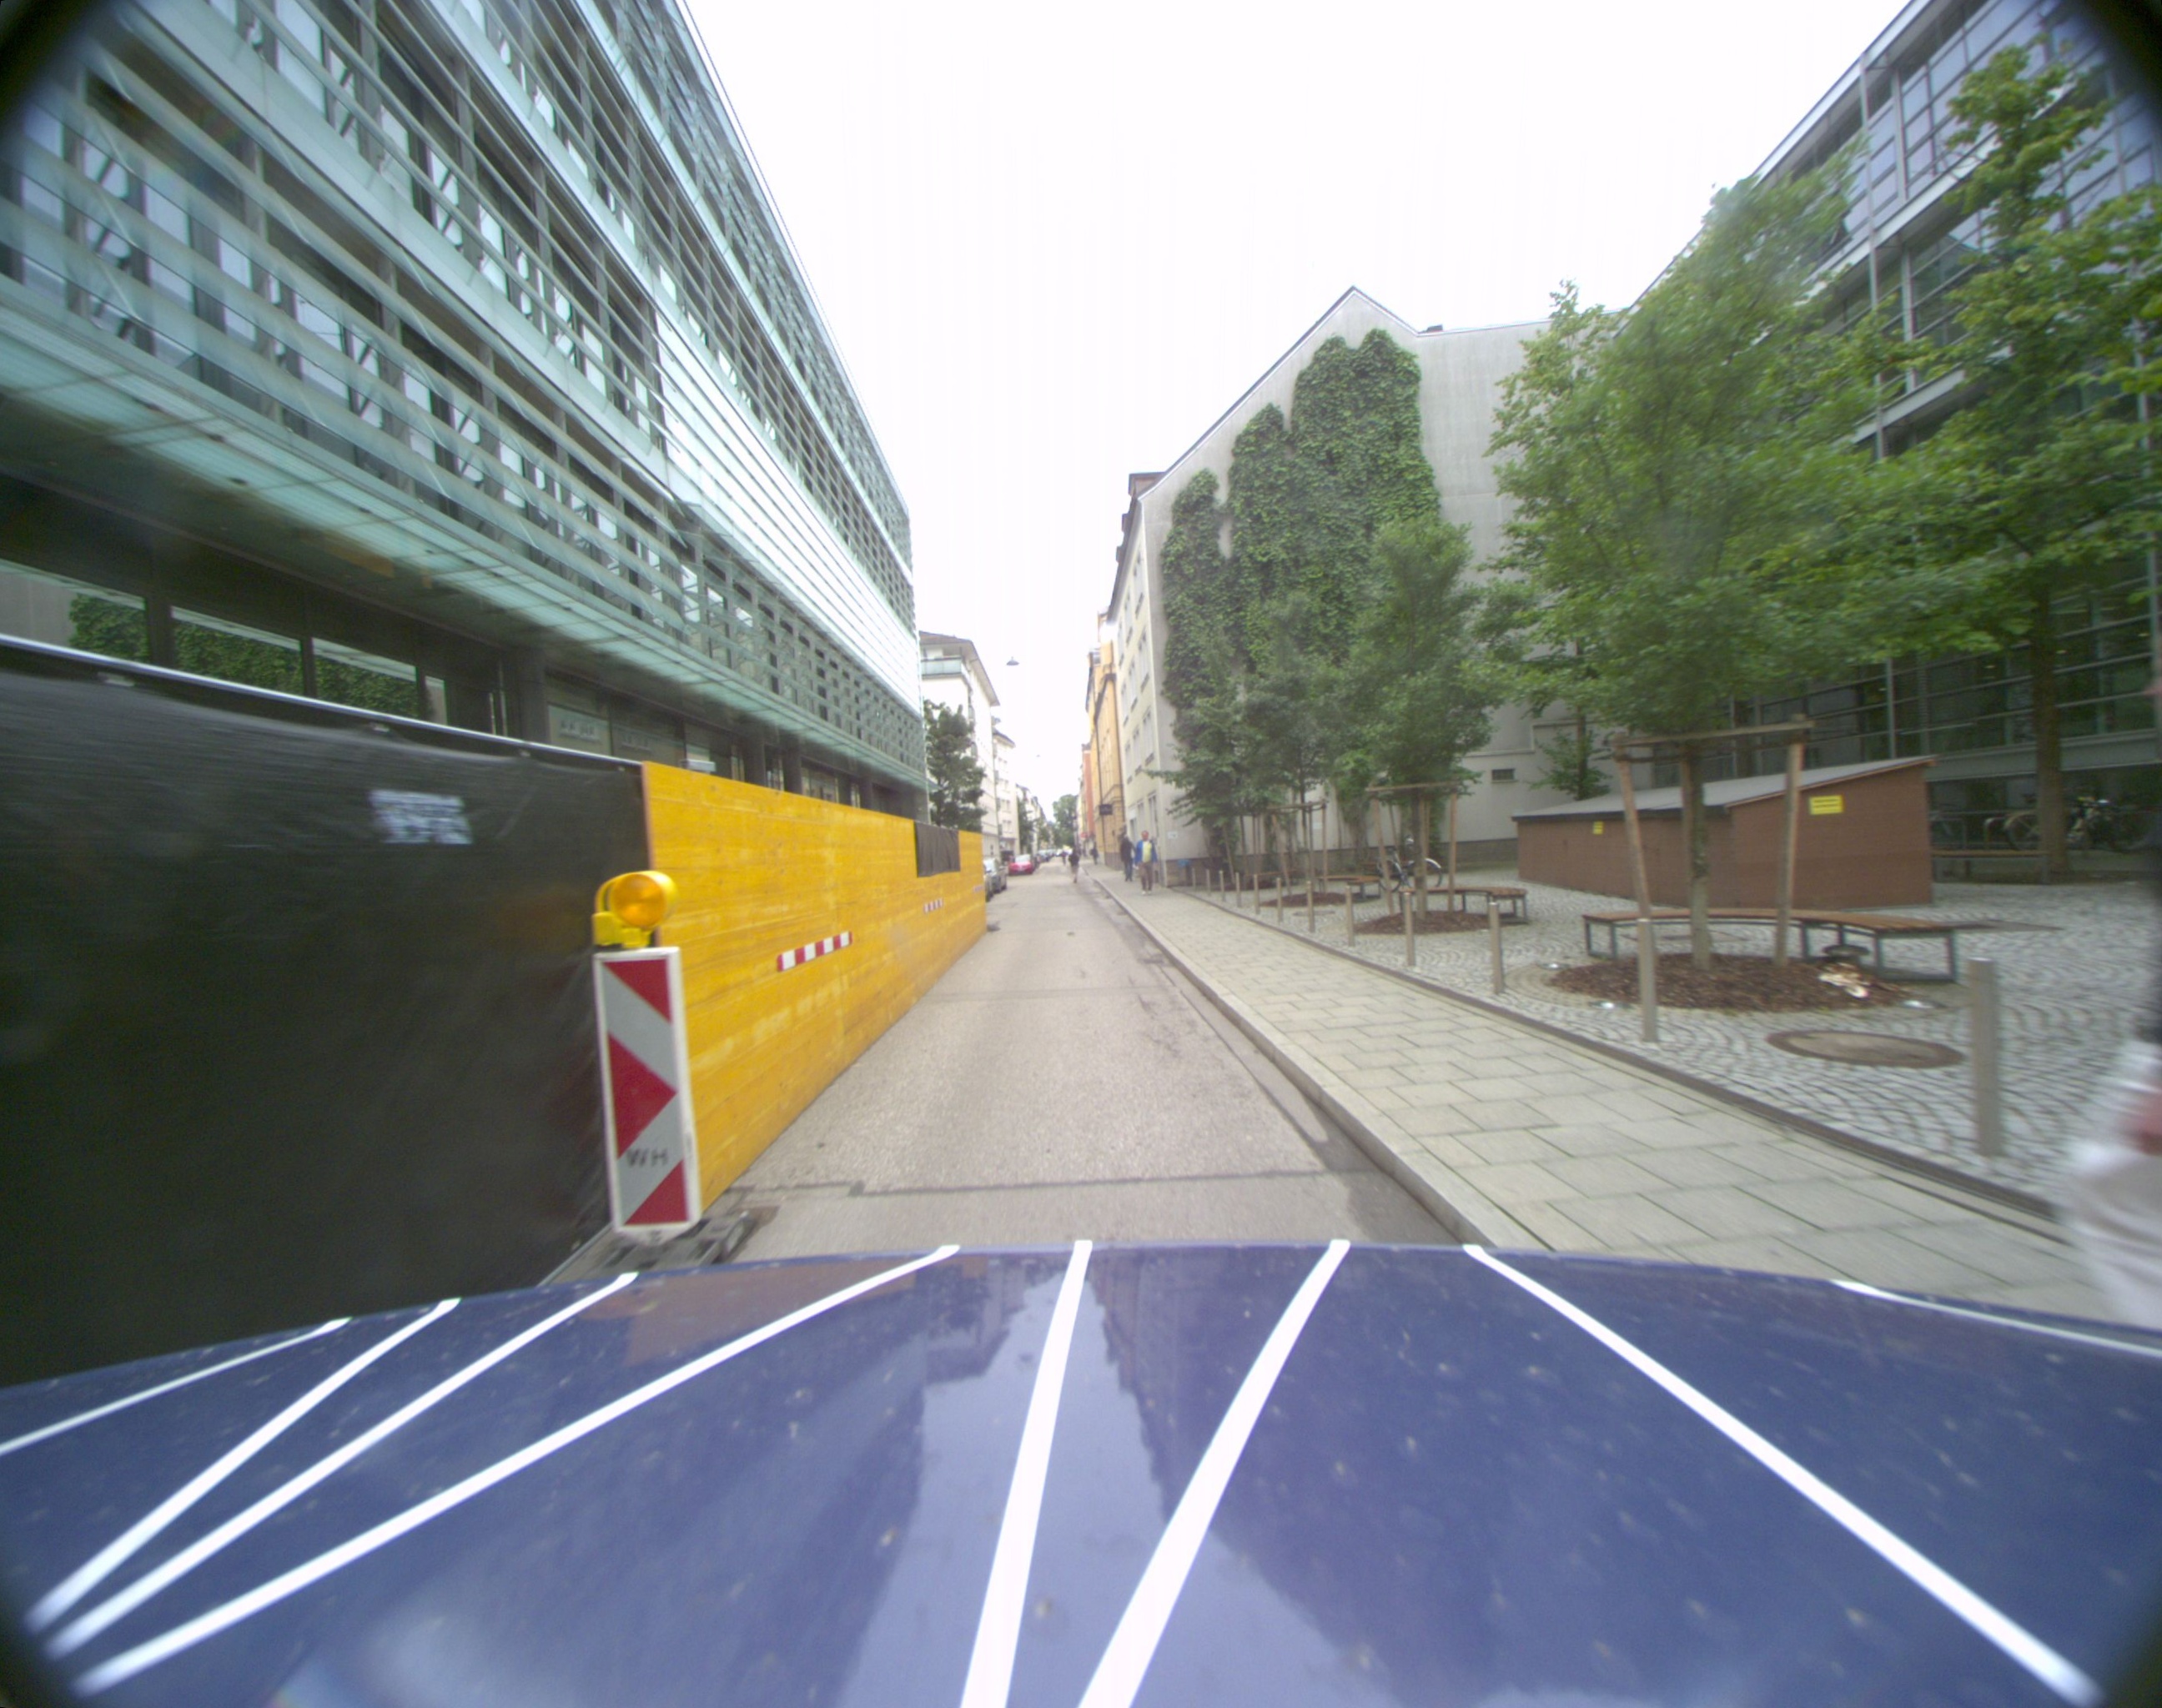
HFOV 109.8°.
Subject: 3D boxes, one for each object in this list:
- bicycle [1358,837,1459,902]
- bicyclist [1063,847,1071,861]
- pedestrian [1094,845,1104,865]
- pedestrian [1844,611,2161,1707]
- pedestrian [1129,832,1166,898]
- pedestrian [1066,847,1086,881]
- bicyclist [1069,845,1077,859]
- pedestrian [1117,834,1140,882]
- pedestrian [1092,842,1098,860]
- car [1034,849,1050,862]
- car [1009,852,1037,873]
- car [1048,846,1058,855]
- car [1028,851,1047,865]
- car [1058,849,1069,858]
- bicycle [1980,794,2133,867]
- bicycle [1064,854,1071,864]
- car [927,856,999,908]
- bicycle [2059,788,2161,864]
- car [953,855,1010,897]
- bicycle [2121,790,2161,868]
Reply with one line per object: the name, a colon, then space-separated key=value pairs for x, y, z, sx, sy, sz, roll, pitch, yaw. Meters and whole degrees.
bicycle: x=6.773 y=0.310 z=15.836 sx=0.714 sy=1.202 sz=1.995 roll=-5 pitch=1 yaw=-19
bicyclist: x=-1.450 y=0.041 z=78.073 sx=0.700 sy=1.399 sz=0.768 roll=-4 pitch=1 yaw=-2
pedestrian: x=1.616 y=0.085 z=68.109 sx=0.700 sy=1.696 sz=0.768 roll=-4 pitch=1 yaw=-1
pedestrian: x=2.150 y=0.502 z=1.217 sx=0.777 sy=1.826 sz=0.991 roll=-4 pitch=1 yaw=-1
pedestrian: x=1.942 y=0.302 z=22.306 sx=0.861 sy=1.834 sz=0.974 roll=-5 pitch=1 yaw=1
pedestrian: x=-0.242 y=0.488 z=36.568 sx=0.711 sy=1.542 sz=0.775 roll=-5 pitch=1 yaw=-14
bicyclist: x=-0.861 y=-0.203 z=79.908 sx=0.718 sy=1.399 sz=0.965 roll=-4 pitch=1 yaw=-2
pedestrian: x=1.932 y=0.161 z=31.248 sx=0.744 sy=1.892 sz=0.879 roll=-5 pitch=1 yaw=-1
pedestrian: x=1.265 y=-0.284 z=68.802 sx=0.386 sy=1.666 sz=0.448 roll=-3 pitch=2 yaw=-3
car: x=-4.972 y=0.160 z=97.364 sx=1.794 sy=1.550 sz=3.999 roll=-4 pitch=1 yaw=-1
car: x=-4.347 y=0.629 z=57.846 sx=1.809 sy=1.390 sz=3.999 roll=-4 pitch=1 yaw=-1
car: x=-5.998 y=-0.835 z=164.035 sx=1.999 sy=1.844 sz=4.390 roll=-4 pitch=1 yaw=-1
car: x=-4.266 y=0.371 z=74.798 sx=1.625 sy=1.259 sz=4.328 roll=-4 pitch=1 yaw=-1
car: x=-3.546 y=-0.150 z=153.606 sx=1.999 sy=1.583 sz=4.374 roll=-4 pitch=1 yaw=-1
bicycle: x=15.783 y=-0.371 z=12.316 sx=1.575 sy=1.054 sz=0.629 roll=-4 pitch=1 yaw=2
bicycle: x=-1.395 y=0.514 z=77.814 sx=0.700 sy=0.977 sz=1.948 roll=-4 pitch=1 yaw=-2
car: x=-4.061 y=0.911 z=26.736 sx=1.999 sy=1.478 sz=4.276 roll=-6 pitch=1 yaw=-4
bicycle: x=15.851 y=-0.437 z=11.350 sx=1.575 sy=1.054 sz=0.629 roll=-4 pitch=1 yaw=2
car: x=-4.078 y=0.859 z=31.721 sx=1.877 sy=1.477 sz=4.277 roll=-4 pitch=1 yaw=-3
bicycle: x=15.597 y=-0.389 z=10.467 sx=1.575 sy=1.054 sz=0.629 roll=-4 pitch=1 yaw=2
